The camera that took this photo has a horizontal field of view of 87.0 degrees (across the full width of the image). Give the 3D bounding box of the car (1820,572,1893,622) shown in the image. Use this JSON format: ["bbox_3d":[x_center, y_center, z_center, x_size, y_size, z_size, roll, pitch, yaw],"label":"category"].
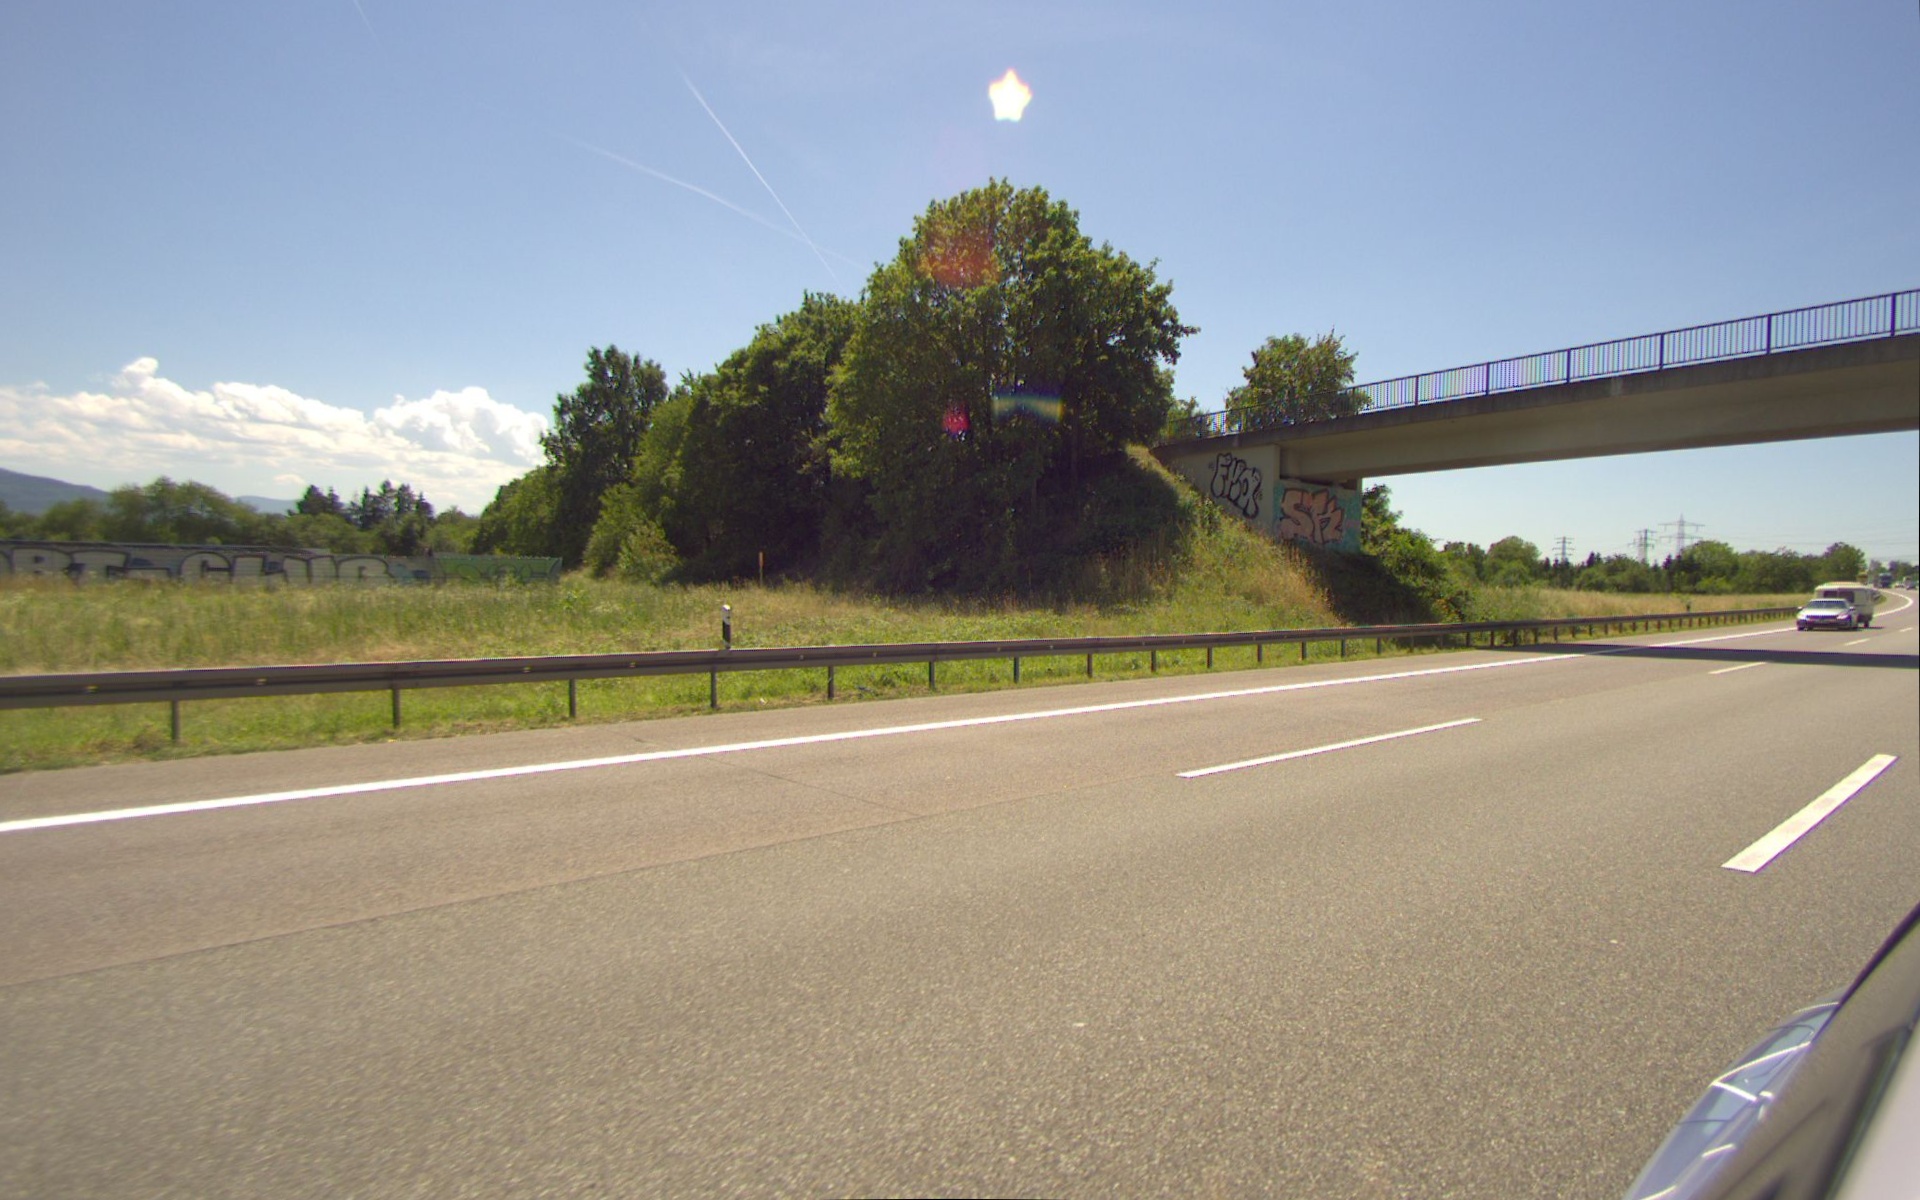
[{"bbox_3d":[43.956,-0.178,49.592,4.868,2.294,2.185,-1,2,-43],"label":"car"}]

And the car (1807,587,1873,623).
[{"bbox_3d":[39.303,0.186,45.154,3.932,1.494,1.782,-1,2,-43],"label":"car"}]
